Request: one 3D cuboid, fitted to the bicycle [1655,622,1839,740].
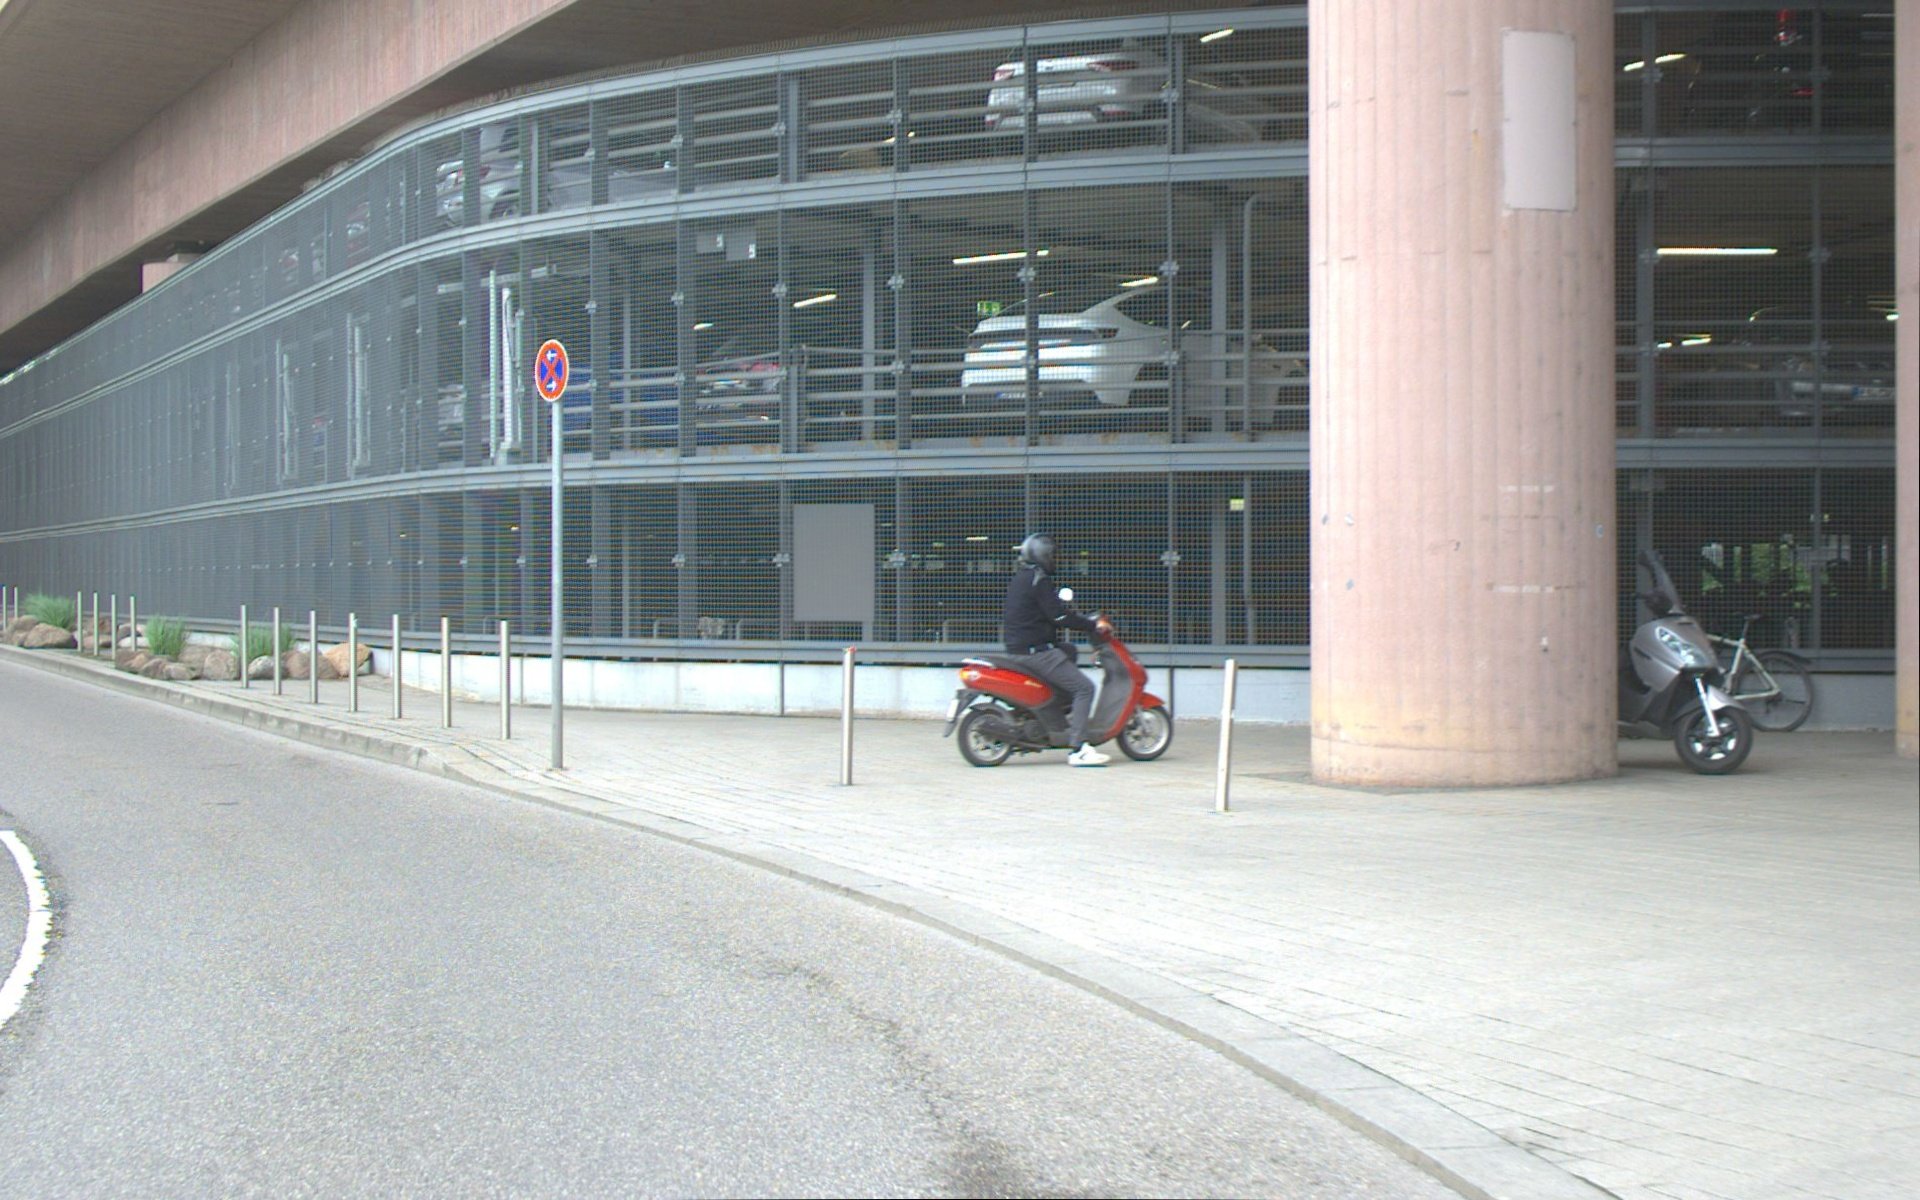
[{"bbox_3d":[6.681,0.685,29.232,1.472,0.973,0.452,0,2,5],"label":"bicycle"}]

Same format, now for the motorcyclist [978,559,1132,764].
[{"bbox_3d":[0.674,0.425,24.556,0.867,1.414,0.764,-1,2,-22],"label":"motorcyclist"}]

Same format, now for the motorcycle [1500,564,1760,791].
[{"bbox_3d":[4.534,0.499,23.374,0.642,1.450,1.762,-1,2,-37],"label":"motorcycle"}]

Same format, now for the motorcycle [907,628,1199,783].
[{"bbox_3d":[0.669,0.738,24.553,1.949,1.019,0.749,-1,2,-23],"label":"motorcycle"}]
